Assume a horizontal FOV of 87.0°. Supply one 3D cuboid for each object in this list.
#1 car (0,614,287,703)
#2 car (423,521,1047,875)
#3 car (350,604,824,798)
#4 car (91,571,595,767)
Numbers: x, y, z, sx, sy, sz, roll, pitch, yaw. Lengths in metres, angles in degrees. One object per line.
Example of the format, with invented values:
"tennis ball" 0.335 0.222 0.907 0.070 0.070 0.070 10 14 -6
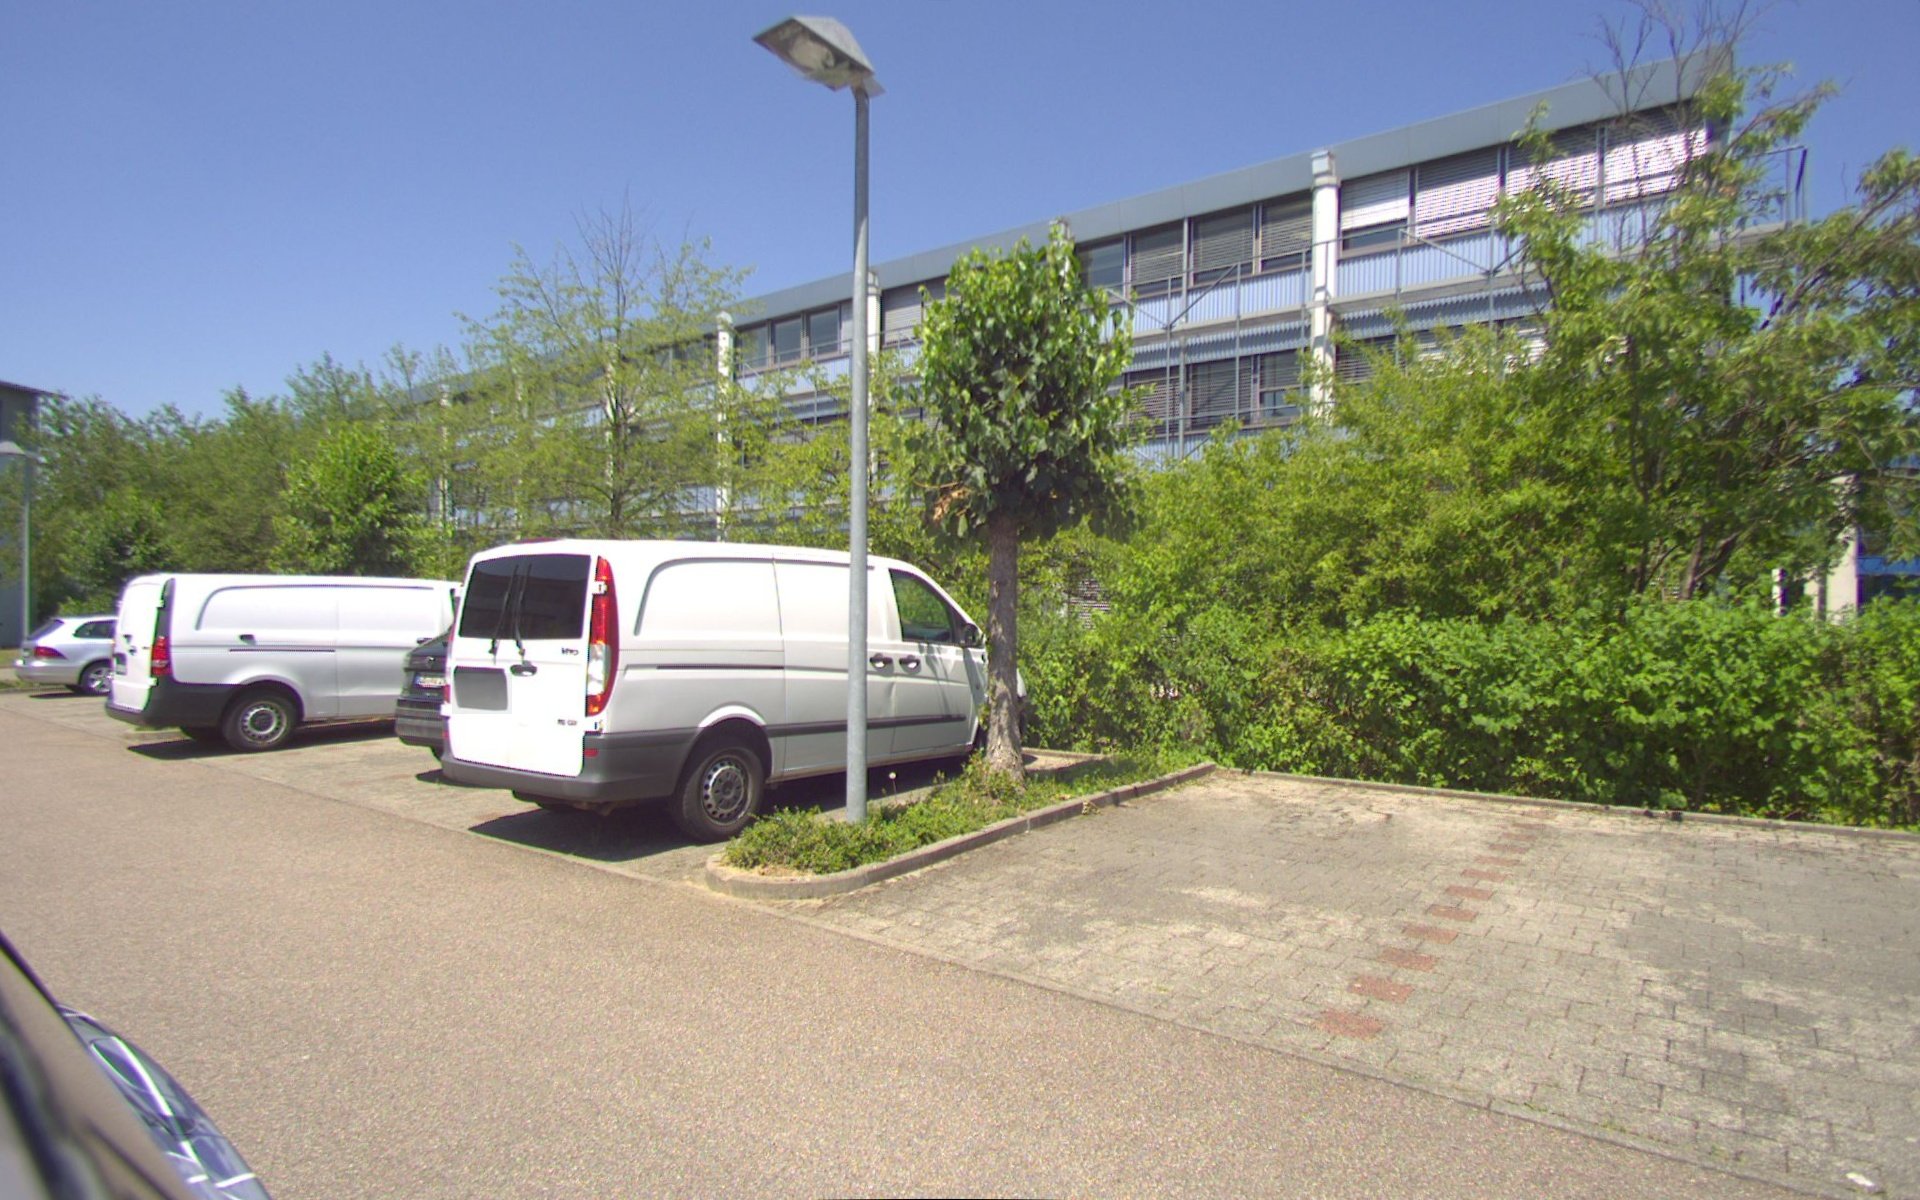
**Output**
"car" -15.479 1.033 19.351 1.738 1.495 4.030 -1 -1 40
"car" -1.340 0.550 7.795 1.865 1.874 4.619 -1 -1 37
"car" -3.427 0.811 10.015 1.736 1.495 4.146 -1 -1 37
"car" -7.108 0.685 12.196 1.855 1.870 4.870 -1 -1 39
